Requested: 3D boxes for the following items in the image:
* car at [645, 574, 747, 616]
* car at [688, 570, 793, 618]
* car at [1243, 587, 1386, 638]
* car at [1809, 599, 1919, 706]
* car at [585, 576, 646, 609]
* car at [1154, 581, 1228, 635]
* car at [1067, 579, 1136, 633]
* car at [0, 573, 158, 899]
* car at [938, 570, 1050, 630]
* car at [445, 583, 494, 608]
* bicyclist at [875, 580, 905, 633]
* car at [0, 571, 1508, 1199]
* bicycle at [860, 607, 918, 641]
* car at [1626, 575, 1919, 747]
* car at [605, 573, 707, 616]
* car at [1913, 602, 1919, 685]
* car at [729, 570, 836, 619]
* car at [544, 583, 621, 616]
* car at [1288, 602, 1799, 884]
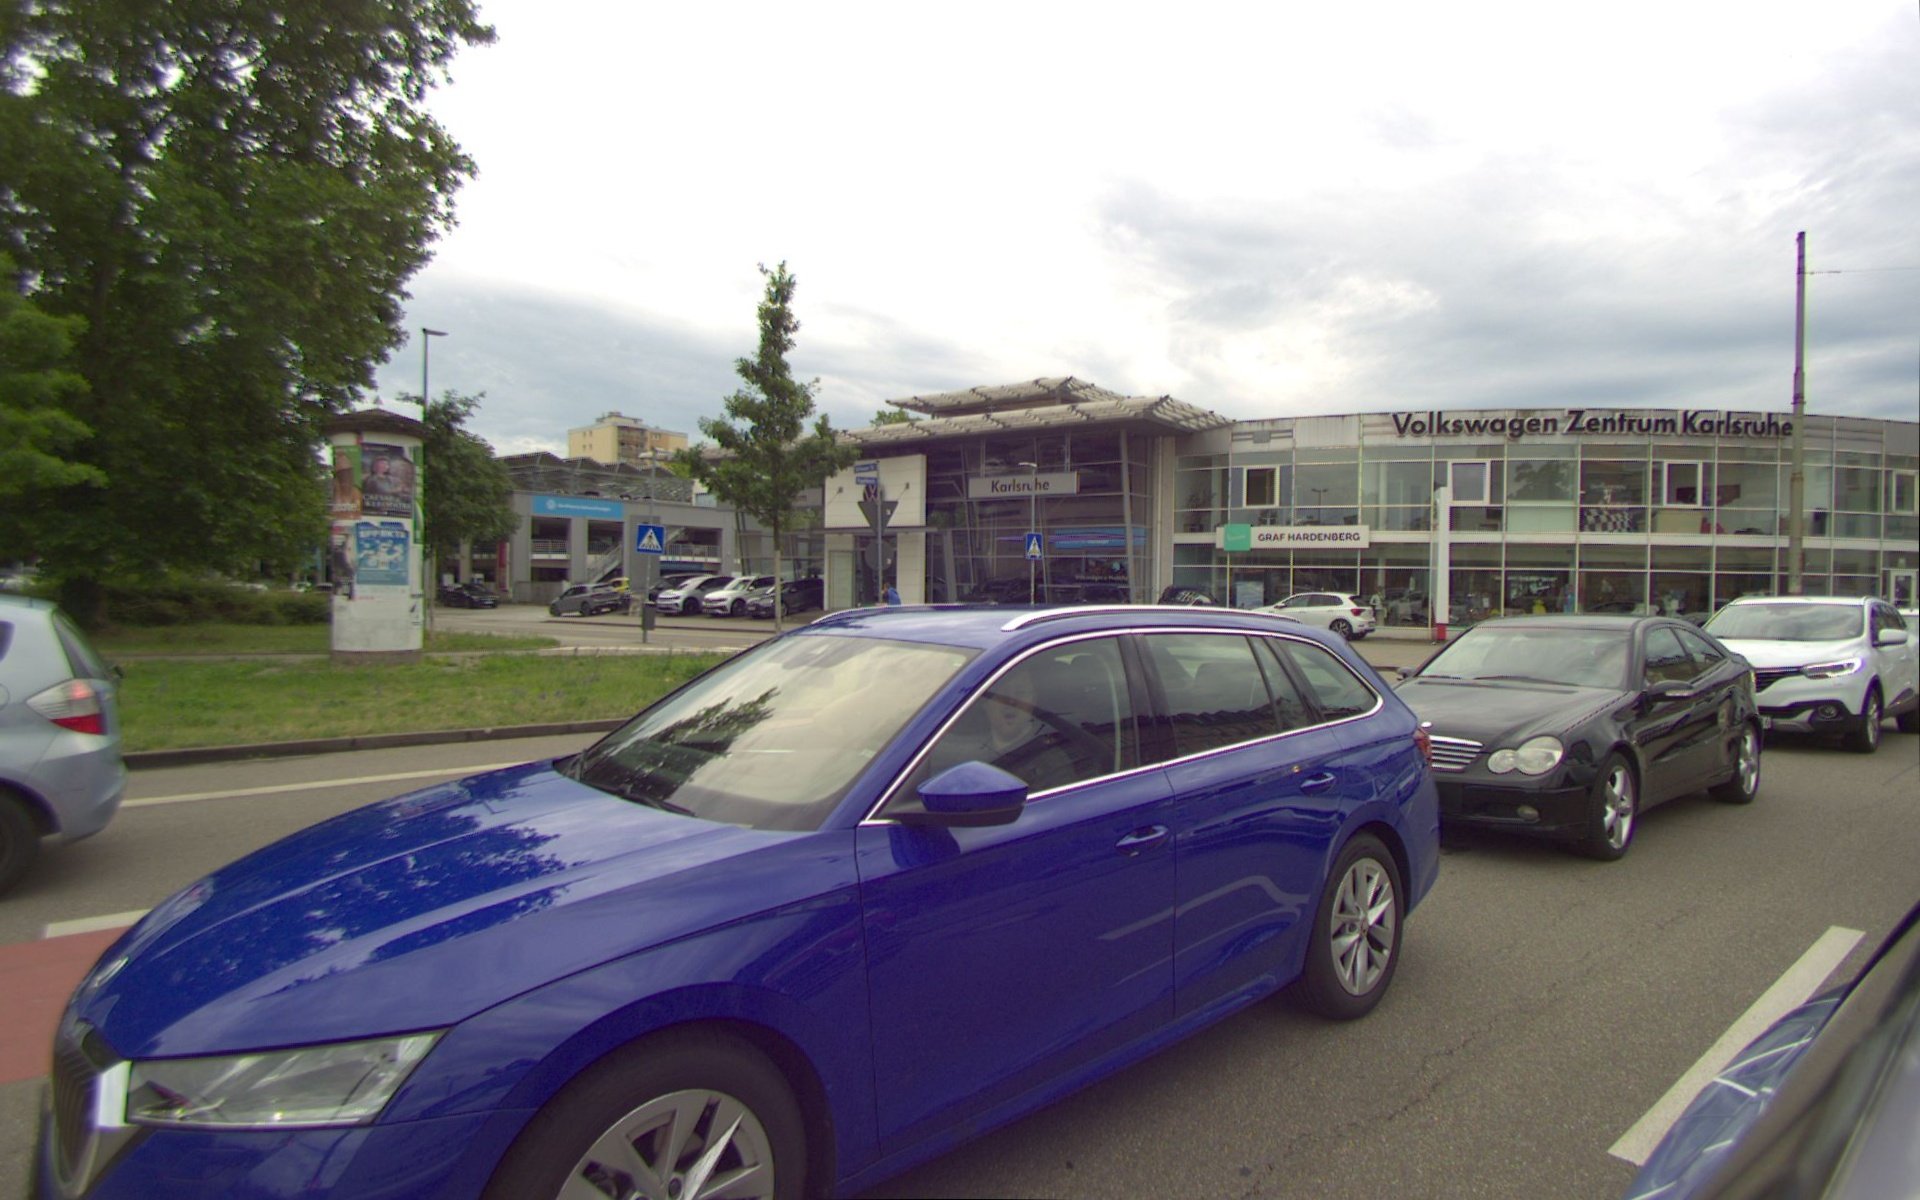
[{"bbox_3d":[-11.961,-0.271,46.121,1.946,1.483,4.178,2,6,37],"label":"car"},{"bbox_3d":[-9.596,-0.319,44.519,1.946,1.615,4.179,2,8,37],"label":"car"},{"bbox_3d":[11.049,0.347,31.692,3.889,1.459,1.708,2,1,40],"label":"car"},{"bbox_3d":[14.702,0.732,15.428,3.899,1.454,1.909,0,1,-38],"label":"car"},{"bbox_3d":[-17.538,-0.414,51.540,3.106,1.530,1.422,2,5,38],"label":"car"},{"bbox_3d":[7.344,0.206,32.544,1.760,1.580,4.029,1,1,5],"label":"car"},{"bbox_3d":[4.710,0.146,33.197,1.927,1.544,4.216,1,3,12],"label":"car"},{"bbox_3d":[-5.994,0.633,4.377,3.867,1.502,1.707,0,0,-43],"label":"car"},{"bbox_3d":[1.299,-0.069,35.839,1.942,1.662,4.627,1,5,31],"label":"car"},{"bbox_3d":[-28.899,-0.307,59.549,1.928,1.358,3.678,-1,2,-37],"label":"car"},{"bbox_3d":[-2.050,0.186,29.709,0.691,1.515,0.548,1,1,36],"label":"bicyclist"},{"bbox_3d":[-0.018,0.677,3.422,4.674,1.454,1.768,0,0,-41],"label":"car"},{"bbox_3d":[-2.098,0.684,29.755,1.779,0.923,0.555,2,1,36],"label":"bicycle"},{"bbox_3d":[9.406,0.541,11.392,4.069,1.578,1.983,0,1,-38],"label":"car"},{"bbox_3d":[-14.242,-0.322,47.604,1.946,1.529,4.179,2,7,37],"label":"car"},{"bbox_3d":[18.965,0.797,18.312,3.899,1.454,1.909,0,1,-38],"label":"car"},{"bbox_3d":[-7.427,-0.288,42.712,1.946,1.472,4.180,2,9,37],"label":"car"},{"bbox_3d":[-18.426,-0.053,49.367,4.128,1.531,1.633,2,1,38],"label":"car"},{"bbox_3d":[4.340,0.732,7.223,4.343,1.388,1.769,0,0,-40],"label":"car"}]
